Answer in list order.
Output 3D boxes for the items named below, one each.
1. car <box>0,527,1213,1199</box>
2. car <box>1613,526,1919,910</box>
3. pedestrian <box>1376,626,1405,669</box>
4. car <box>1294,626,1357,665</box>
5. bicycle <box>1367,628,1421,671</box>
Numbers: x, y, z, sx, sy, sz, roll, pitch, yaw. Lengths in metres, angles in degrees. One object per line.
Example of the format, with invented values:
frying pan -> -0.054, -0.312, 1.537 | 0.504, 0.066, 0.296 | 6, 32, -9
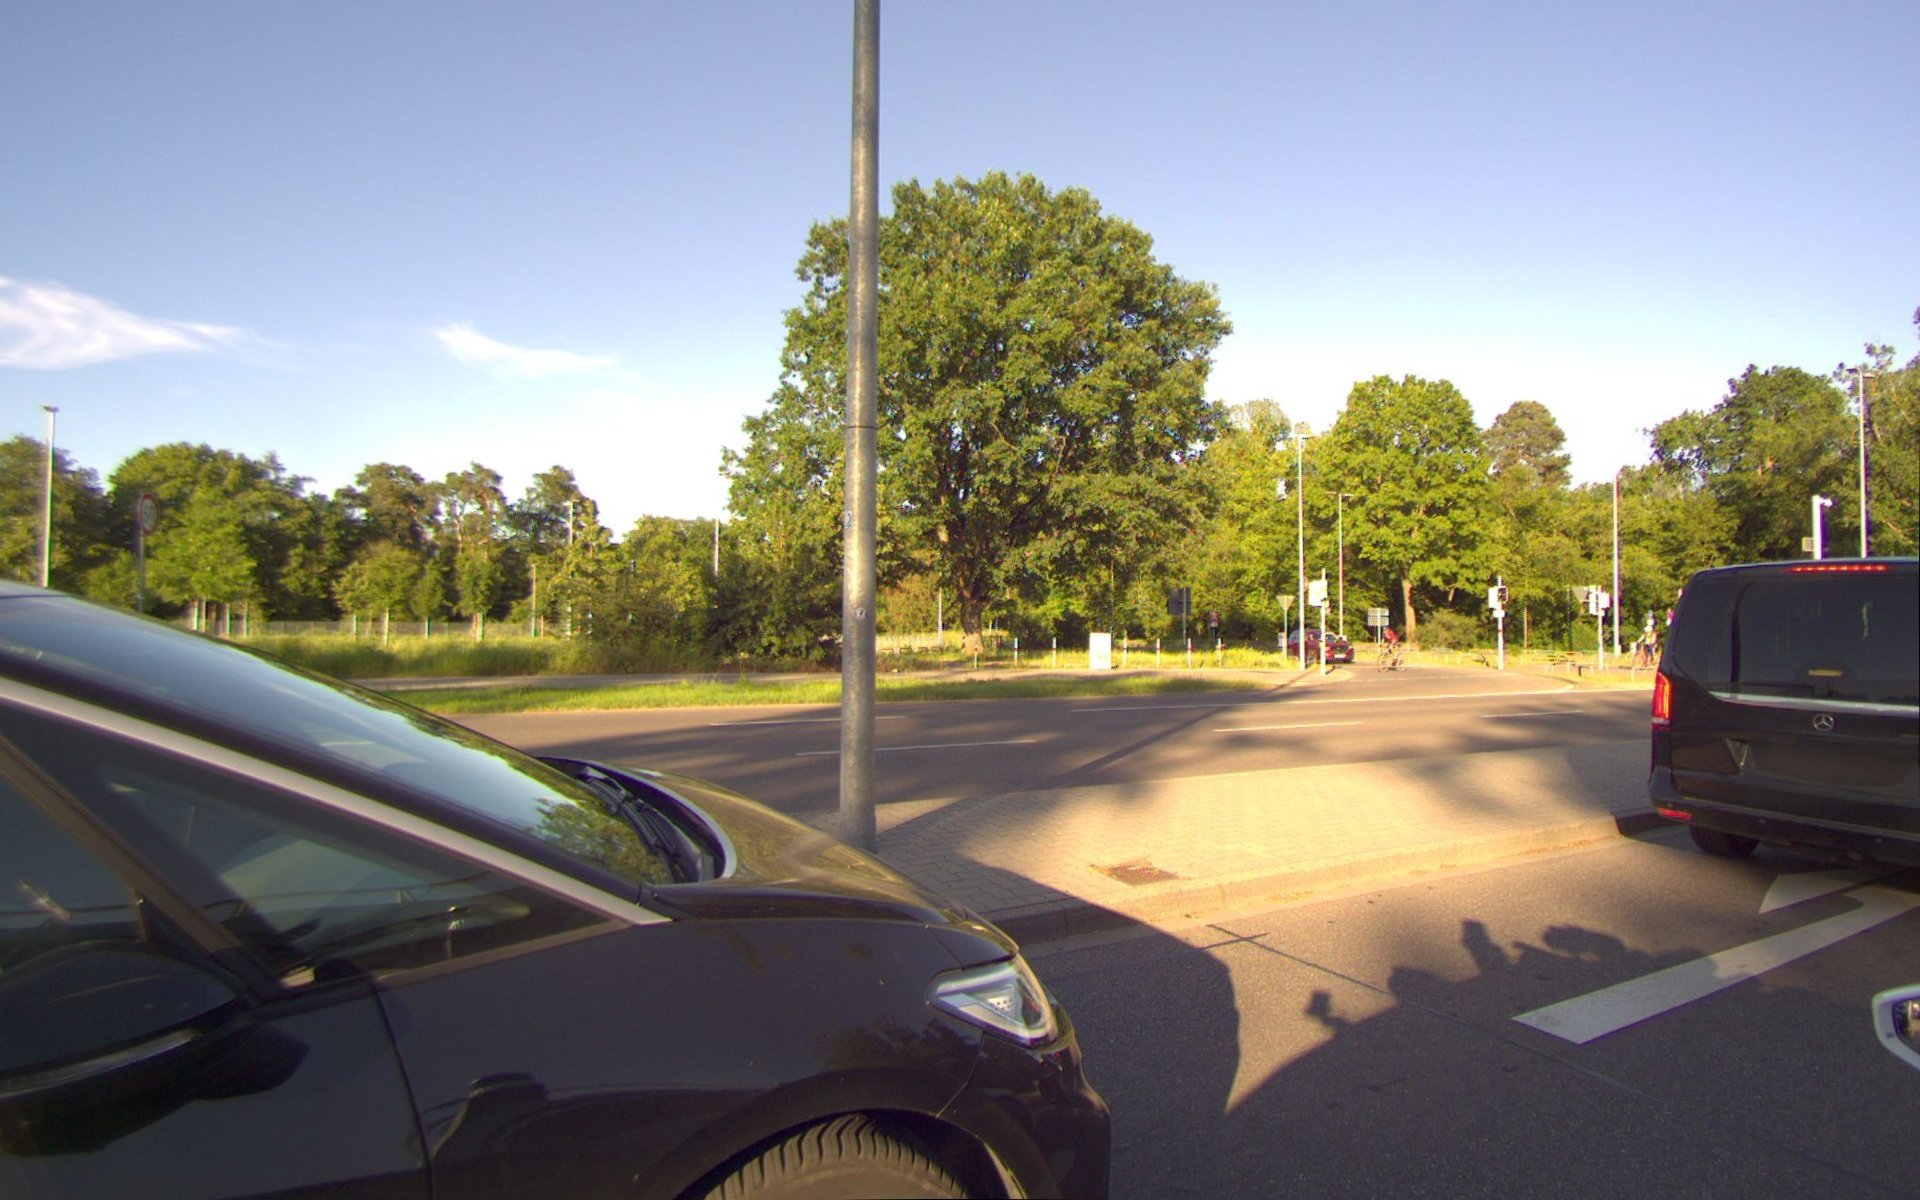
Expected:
car -> -1.746, 0.689, 1.482 | 3.955, 1.557, 1.868 | 2, 0, -31
car -> 6.555, 0.639, 6.551 | 4.817, 1.881, 1.898 | 2, 0, -31
pedestrian -> 16.040, 1.754, 37.427 | 0.664, 1.564, 0.737 | 2, 0, -27
car -> 17.487, 2.153, 48.216 | 1.959, 1.639, 4.002 | 2, 0, 7
bicycle -> 16.226, 1.851, 37.545 | 1.996, 1.571, 0.748 | 2, 0, -27
